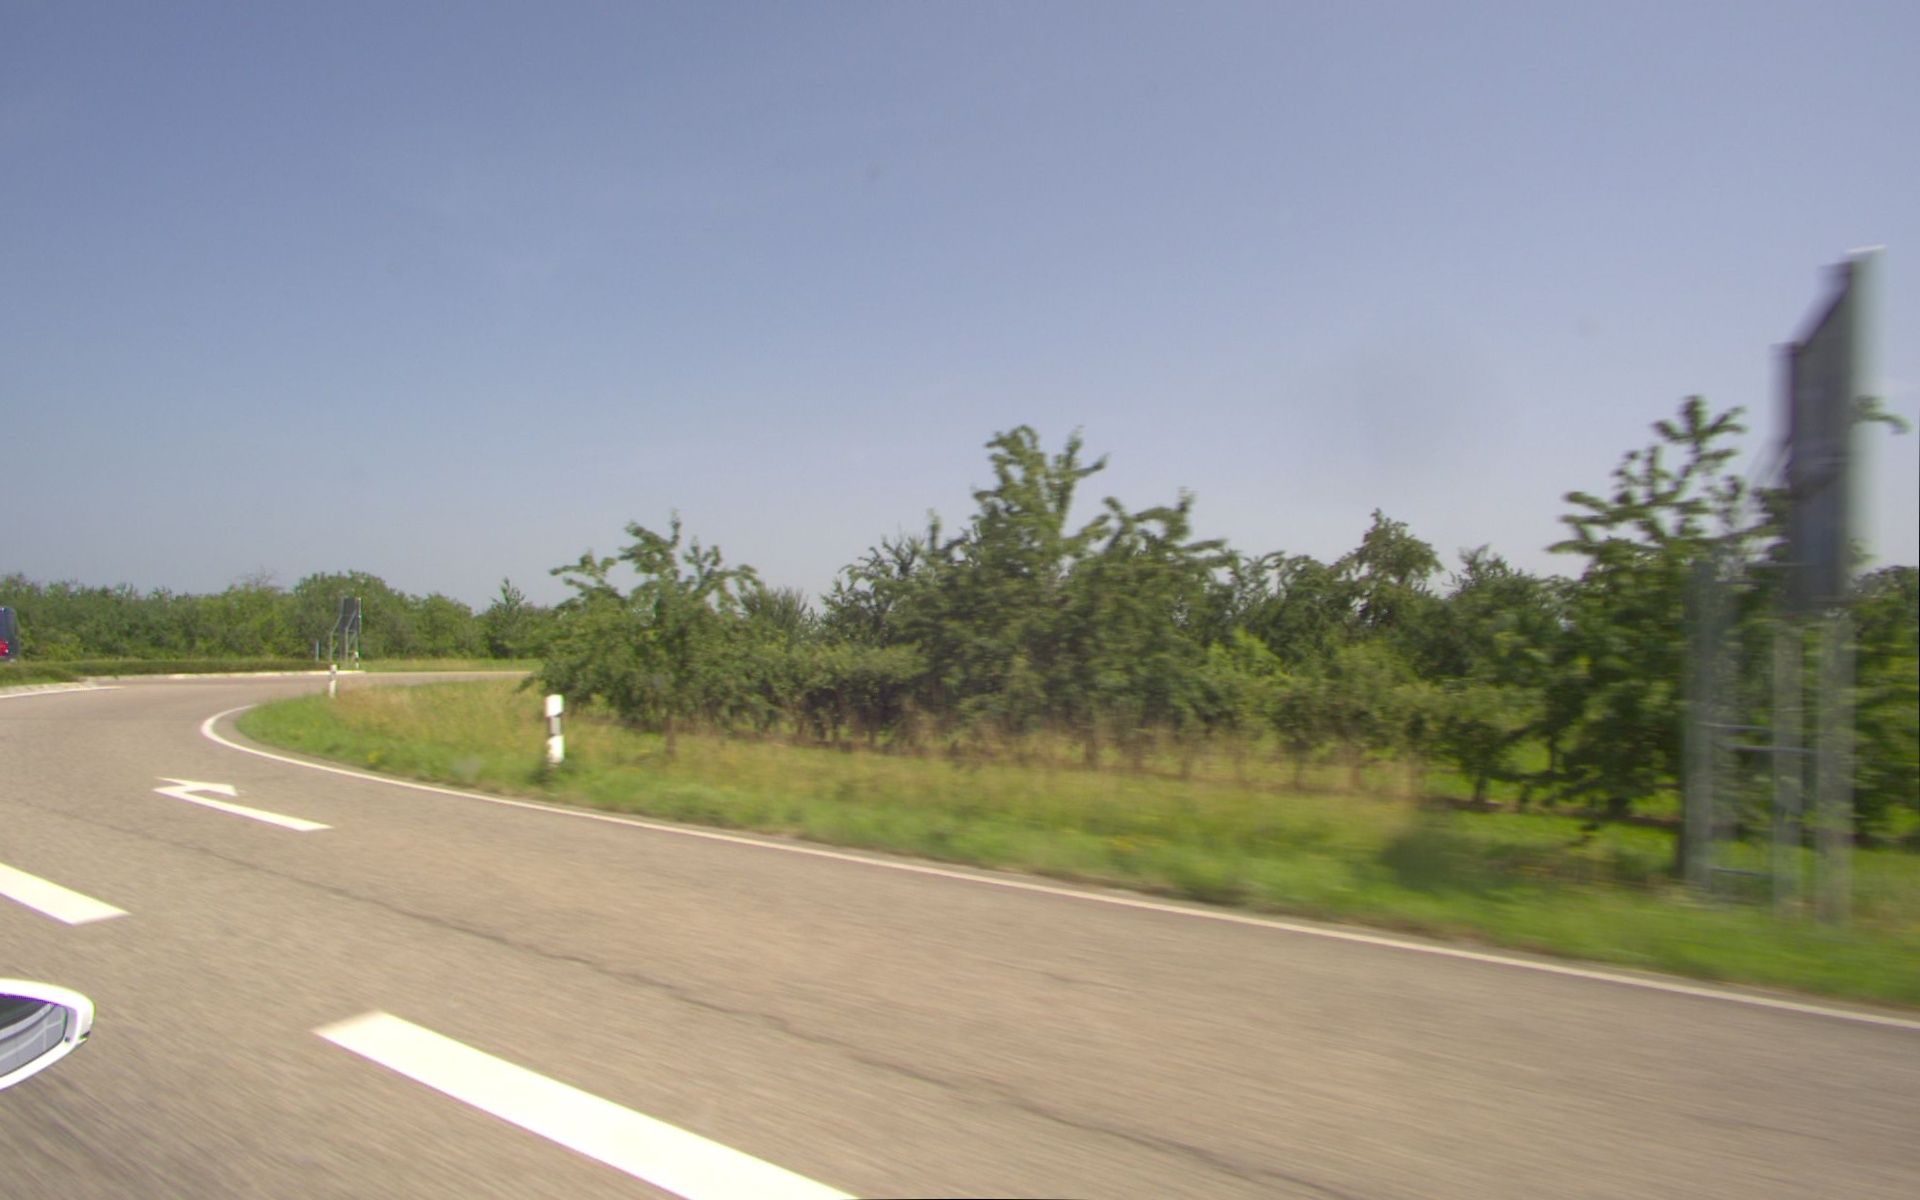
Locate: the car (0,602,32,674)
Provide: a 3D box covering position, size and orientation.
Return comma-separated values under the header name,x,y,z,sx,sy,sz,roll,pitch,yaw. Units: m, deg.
name,x,y,z,sx,sy,sz,roll,pitch,yaw
car,-37.759,1.395,35.956,6.231,2.608,2.049,1,-2,-35
